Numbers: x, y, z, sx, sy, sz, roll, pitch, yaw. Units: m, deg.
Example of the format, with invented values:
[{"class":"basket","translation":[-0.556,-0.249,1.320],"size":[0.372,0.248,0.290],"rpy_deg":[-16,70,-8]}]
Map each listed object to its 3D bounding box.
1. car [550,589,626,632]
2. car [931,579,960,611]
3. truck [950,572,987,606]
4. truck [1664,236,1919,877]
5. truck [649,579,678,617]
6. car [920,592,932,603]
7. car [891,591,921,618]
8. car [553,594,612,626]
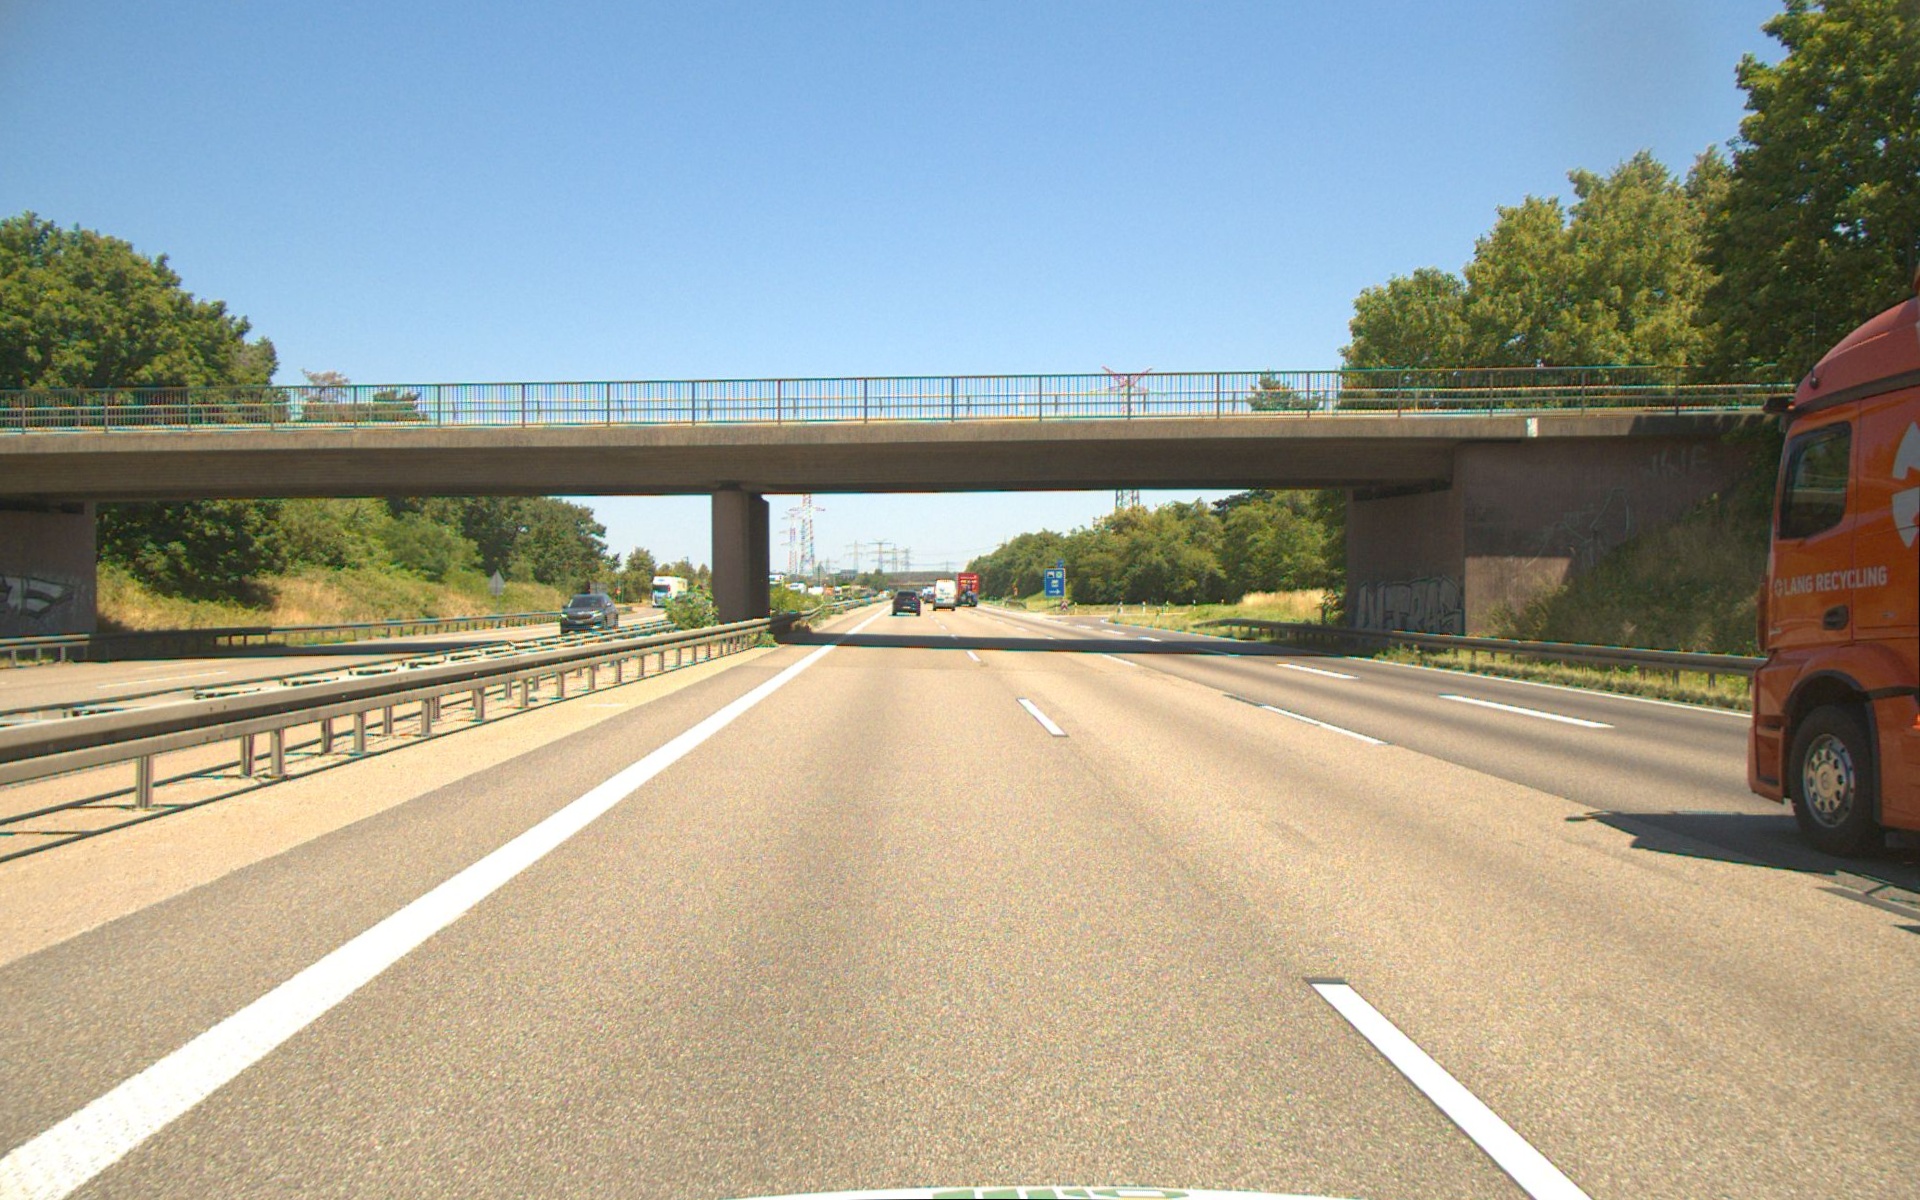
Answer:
[{"class":"car","translation":[-15.492,0.408,69.132],"size":[2.183,1.639,5.058],"rpy_deg":[-2,0,-2]},{"class":"car","translation":[-1.365,-0.462,155.487],"size":[2.568,2.807,6.094],"rpy_deg":[2,0,-2]},{"class":"truck","translation":[0.980,-1.378,210.608],"size":[4.244,4.010,16.073],"rpy_deg":[2,0,-1]},{"class":"truck","translation":[7.174,-0.233,7.043],"size":[2.627,3.864,12.473],"rpy_deg":[2,0,-2]},{"class":"truck","translation":[-40.581,-0.318,226.553],"size":[3.011,4.911,7.709],"rpy_deg":[-2,1,-4]},{"class":"car","translation":[-5.008,-0.374,241.332],"size":[1.712,1.662,4.002],"rpy_deg":[2,0,-2]},{"class":"car","translation":[-3.743,0.305,114.783],"size":[1.953,1.780,3.998],"rpy_deg":[2,0,-2]},{"class":"car","translation":[-20.642,0.530,90.645],"size":[2.183,1.639,5.058],"rpy_deg":[-2,0,-2]}]
